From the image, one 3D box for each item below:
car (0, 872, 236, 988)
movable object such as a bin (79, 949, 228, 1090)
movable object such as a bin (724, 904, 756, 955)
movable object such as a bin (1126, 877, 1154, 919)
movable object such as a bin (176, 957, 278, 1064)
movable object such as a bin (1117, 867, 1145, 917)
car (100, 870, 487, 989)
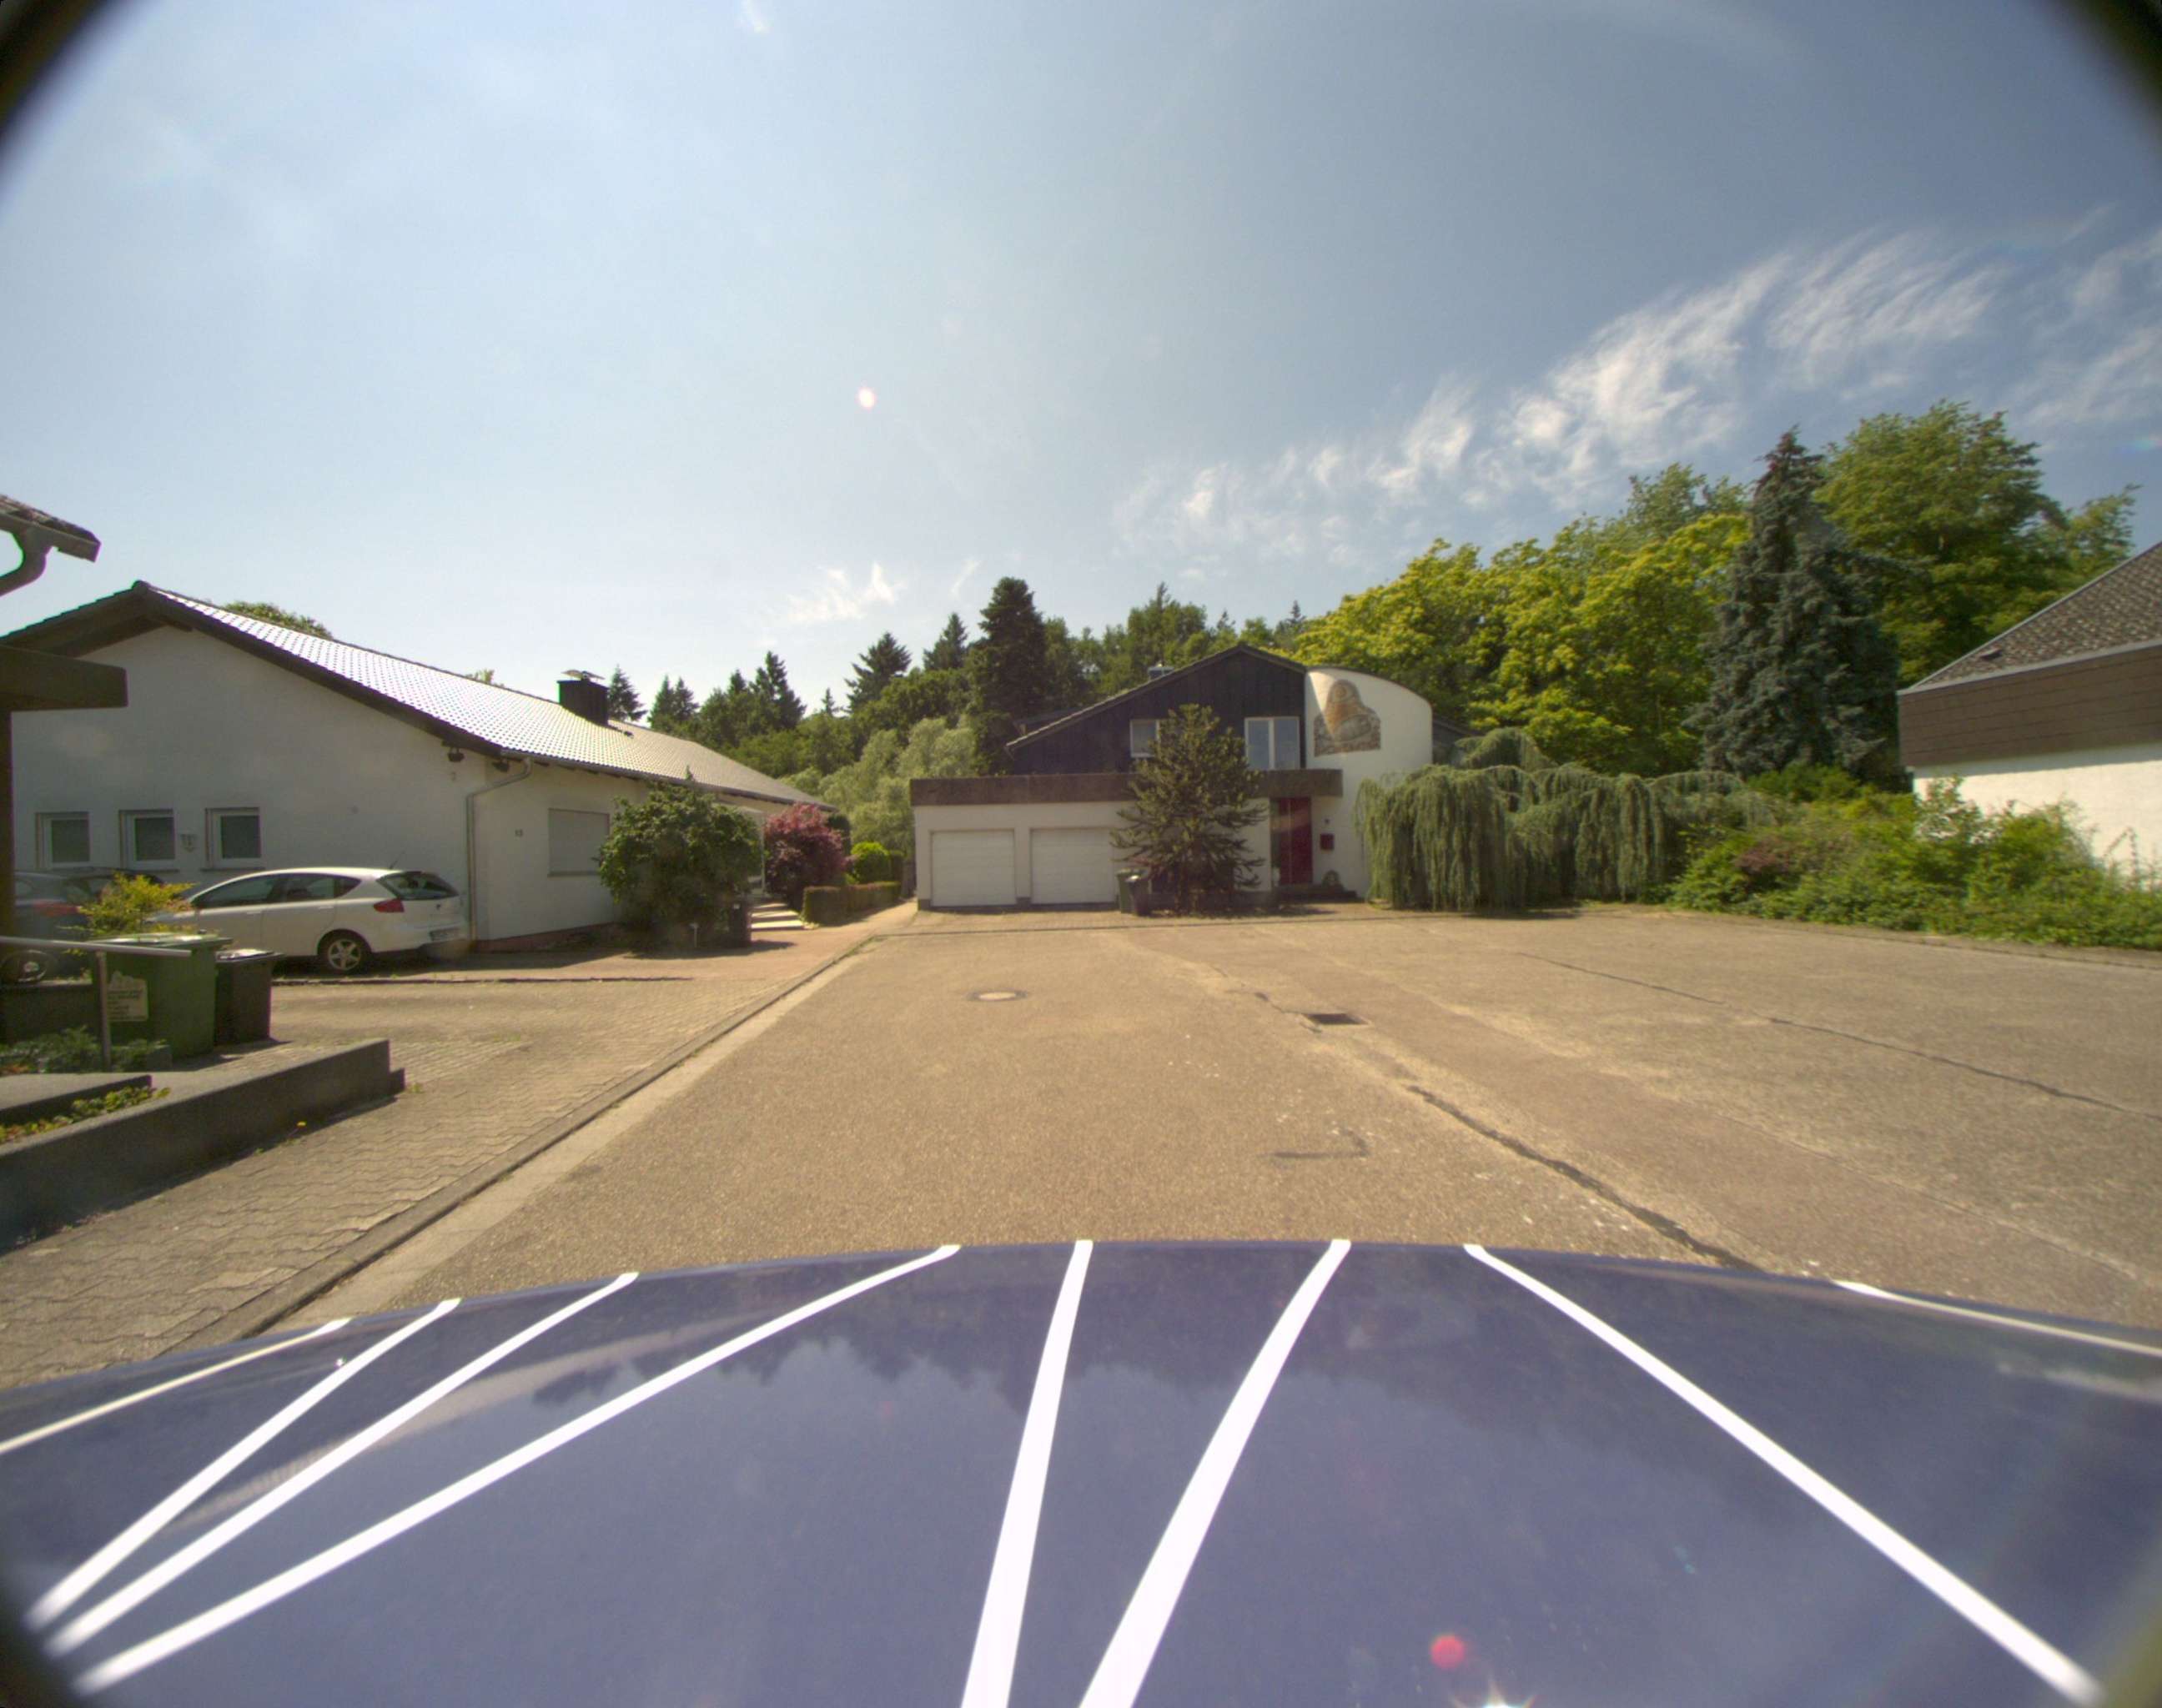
[{"bbox_3d":[-16.357,1.132,11.925,3.997,1.599,1.929,-1,1,1],"label":"car"},{"bbox_3d":[-7.820,1.370,6.432,0.491,1.035,0.592,-1,1,-7],"label":"movable object such as a bin"},{"bbox_3d":[-6.242,1.370,13.915,0.390,0.886,0.375,-1,1,0],"label":"movable object such as a bin"},{"bbox_3d":[1.406,1.043,18.139,0.524,0.944,0.388,-2,1,-26],"label":"movable object such as a bin"},{"bbox_3d":[-7.812,1.420,6.966,0.426,0.886,0.407,-1,1,-7],"label":"movable object such as a bin"},{"bbox_3d":[1.240,0.935,18.798,0.633,1.196,0.551,-1,1,1],"label":"movable object such as a bin"},{"bbox_3d":[-11.928,1.095,11.748,3.998,1.559,1.751,-1,1,-3],"label":"car"}]
